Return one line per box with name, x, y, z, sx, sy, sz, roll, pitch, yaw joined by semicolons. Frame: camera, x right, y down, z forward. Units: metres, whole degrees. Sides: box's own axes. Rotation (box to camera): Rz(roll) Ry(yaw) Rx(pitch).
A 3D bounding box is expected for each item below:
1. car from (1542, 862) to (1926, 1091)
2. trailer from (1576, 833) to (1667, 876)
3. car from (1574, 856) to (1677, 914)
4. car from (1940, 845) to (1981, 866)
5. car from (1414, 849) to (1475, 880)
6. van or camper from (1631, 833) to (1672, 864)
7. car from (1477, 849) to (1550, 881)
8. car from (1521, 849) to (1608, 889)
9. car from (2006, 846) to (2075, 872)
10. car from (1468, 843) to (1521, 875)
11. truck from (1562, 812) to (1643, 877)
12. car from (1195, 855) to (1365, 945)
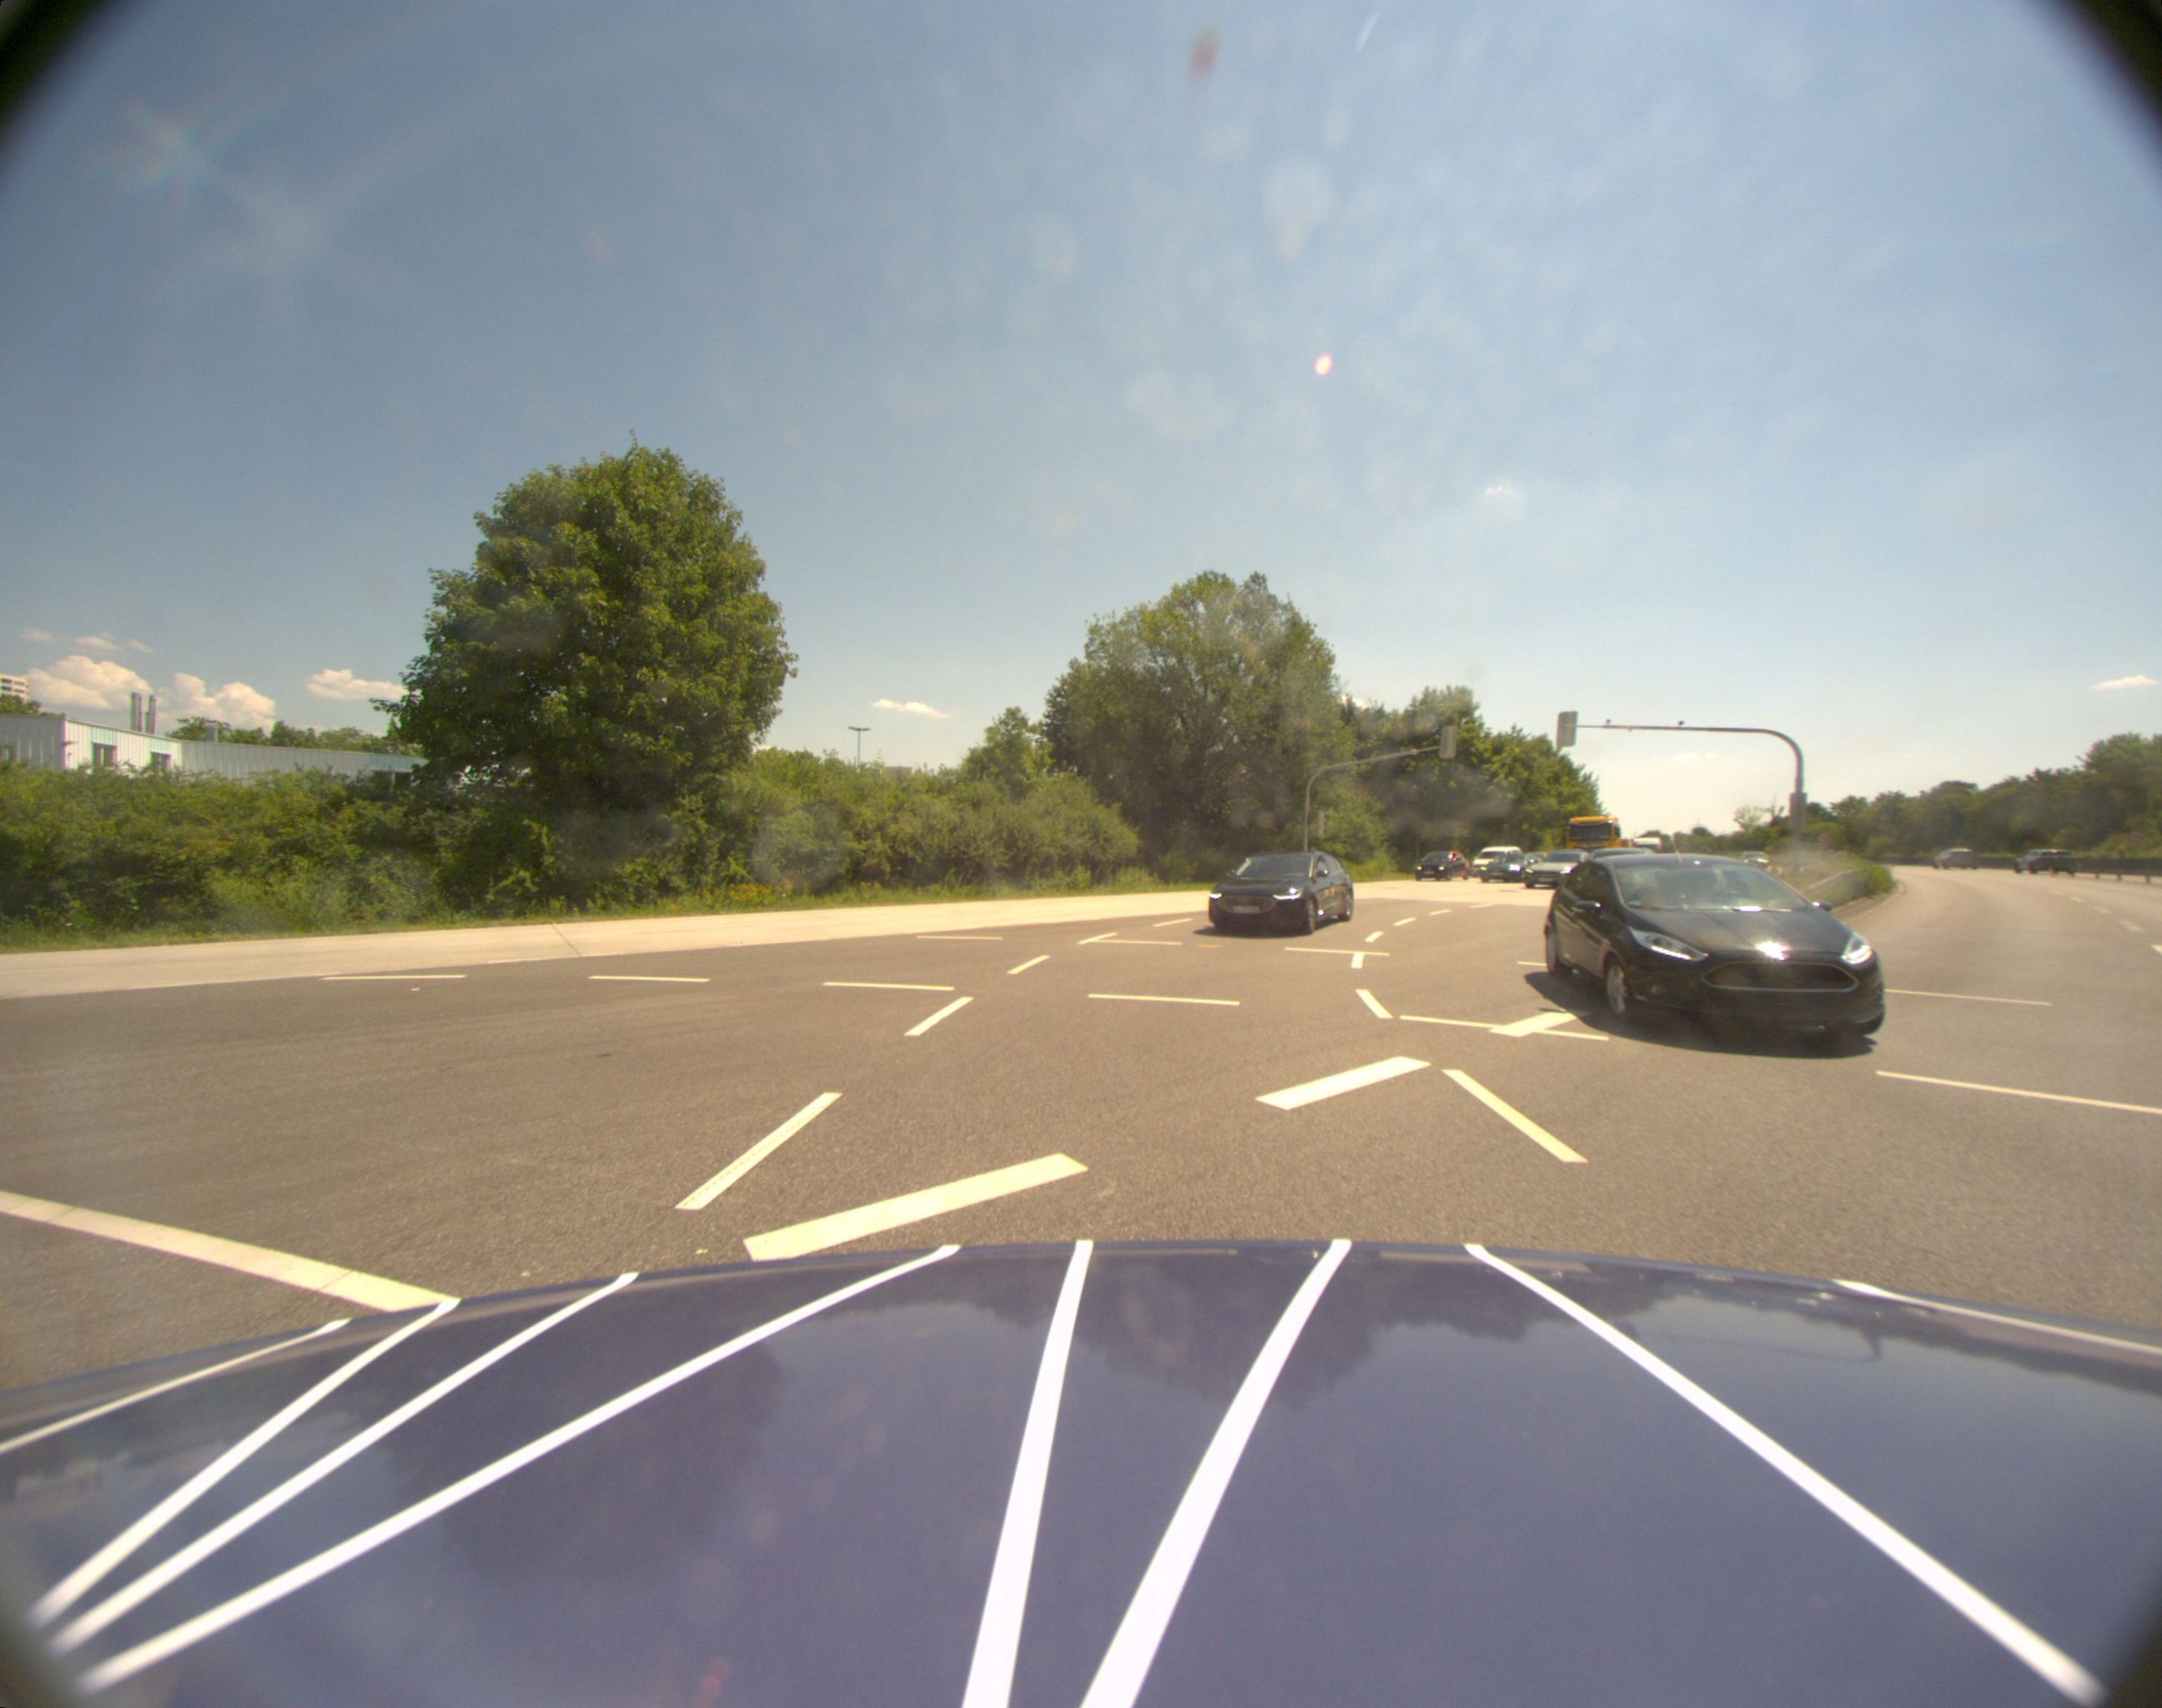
car;5.774;0.864;7.356;1.624;1.476;4.006;0;1;22
trailer;38.348;0.002;53.490;3.028;2.578;16.391;0;0;43
car;15.643;0.816;21.764;4.008;1.456;1.702;-1;1;-44
car;78.473;0.103;67.871;1.994;1.763;4.868;1;1;45
car;18.808;0.490;39.265;1.768;1.500;3.659;0;1;44
van or camper;47.892;-0.482;63.750;2.063;2.559;5.920;0;1;43
car;20.725;0.496;36.351;4.619;1.402;1.768;-1;1;-44
car;19.065;0.533;29.899;4.008;1.456;1.886;-1;1;-42
car;65.030;0.304;51.562;1.994;1.682;4.667;1;1;40
car;24.701;0.281;45.296;1.768;1.797;4.802;0;1;41
truck;32.608;-0.573;47.395;3.014;3.751;7.485;0;1;43
car;3.943;0.756;14.541;1.727;1.430;4.313;0;0;35
